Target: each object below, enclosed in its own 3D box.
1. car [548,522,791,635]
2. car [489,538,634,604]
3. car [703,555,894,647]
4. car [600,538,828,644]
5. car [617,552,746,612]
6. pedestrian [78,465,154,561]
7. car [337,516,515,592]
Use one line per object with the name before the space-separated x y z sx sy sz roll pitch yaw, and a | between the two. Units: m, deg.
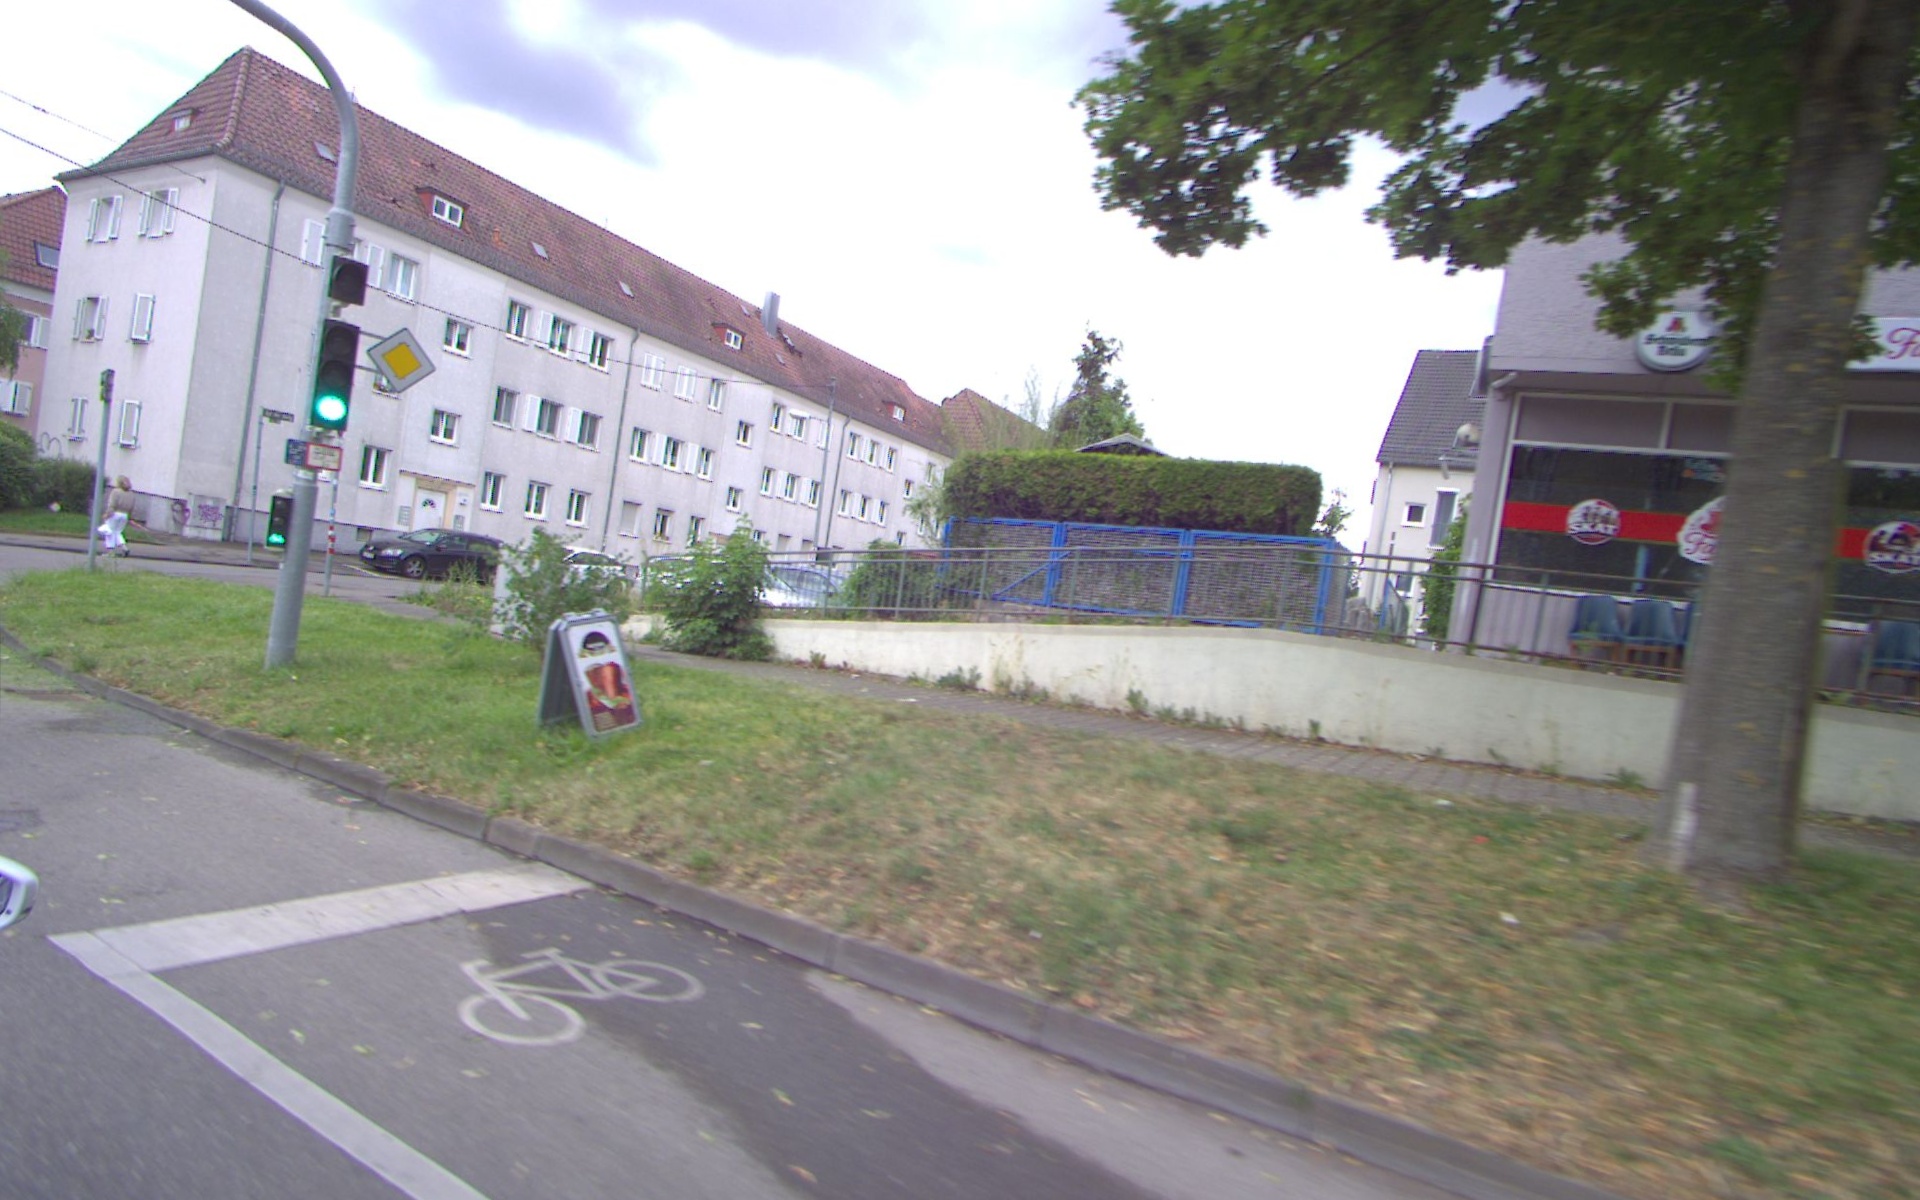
car | -5.326 -0.401 18.409 3.930 1.490 1.875 7 -1 27
car | -13.191 -0.935 33.519 1.968 1.554 3.992 7 -2 33
car | -3.735 0.014 23.173 3.907 1.555 1.824 7 -1 28
car | -5.125 -0.183 20.893 4.223 1.555 1.998 8 -1 28
car | -10.379 -0.637 37.818 1.967 1.555 4.289 10 0 33
pedestrian | -17.820 -1.829 21.241 0.937 1.880 0.749 7 3 16
car | -15.372 -1.295 29.165 1.968 1.554 3.992 7 -2 33
